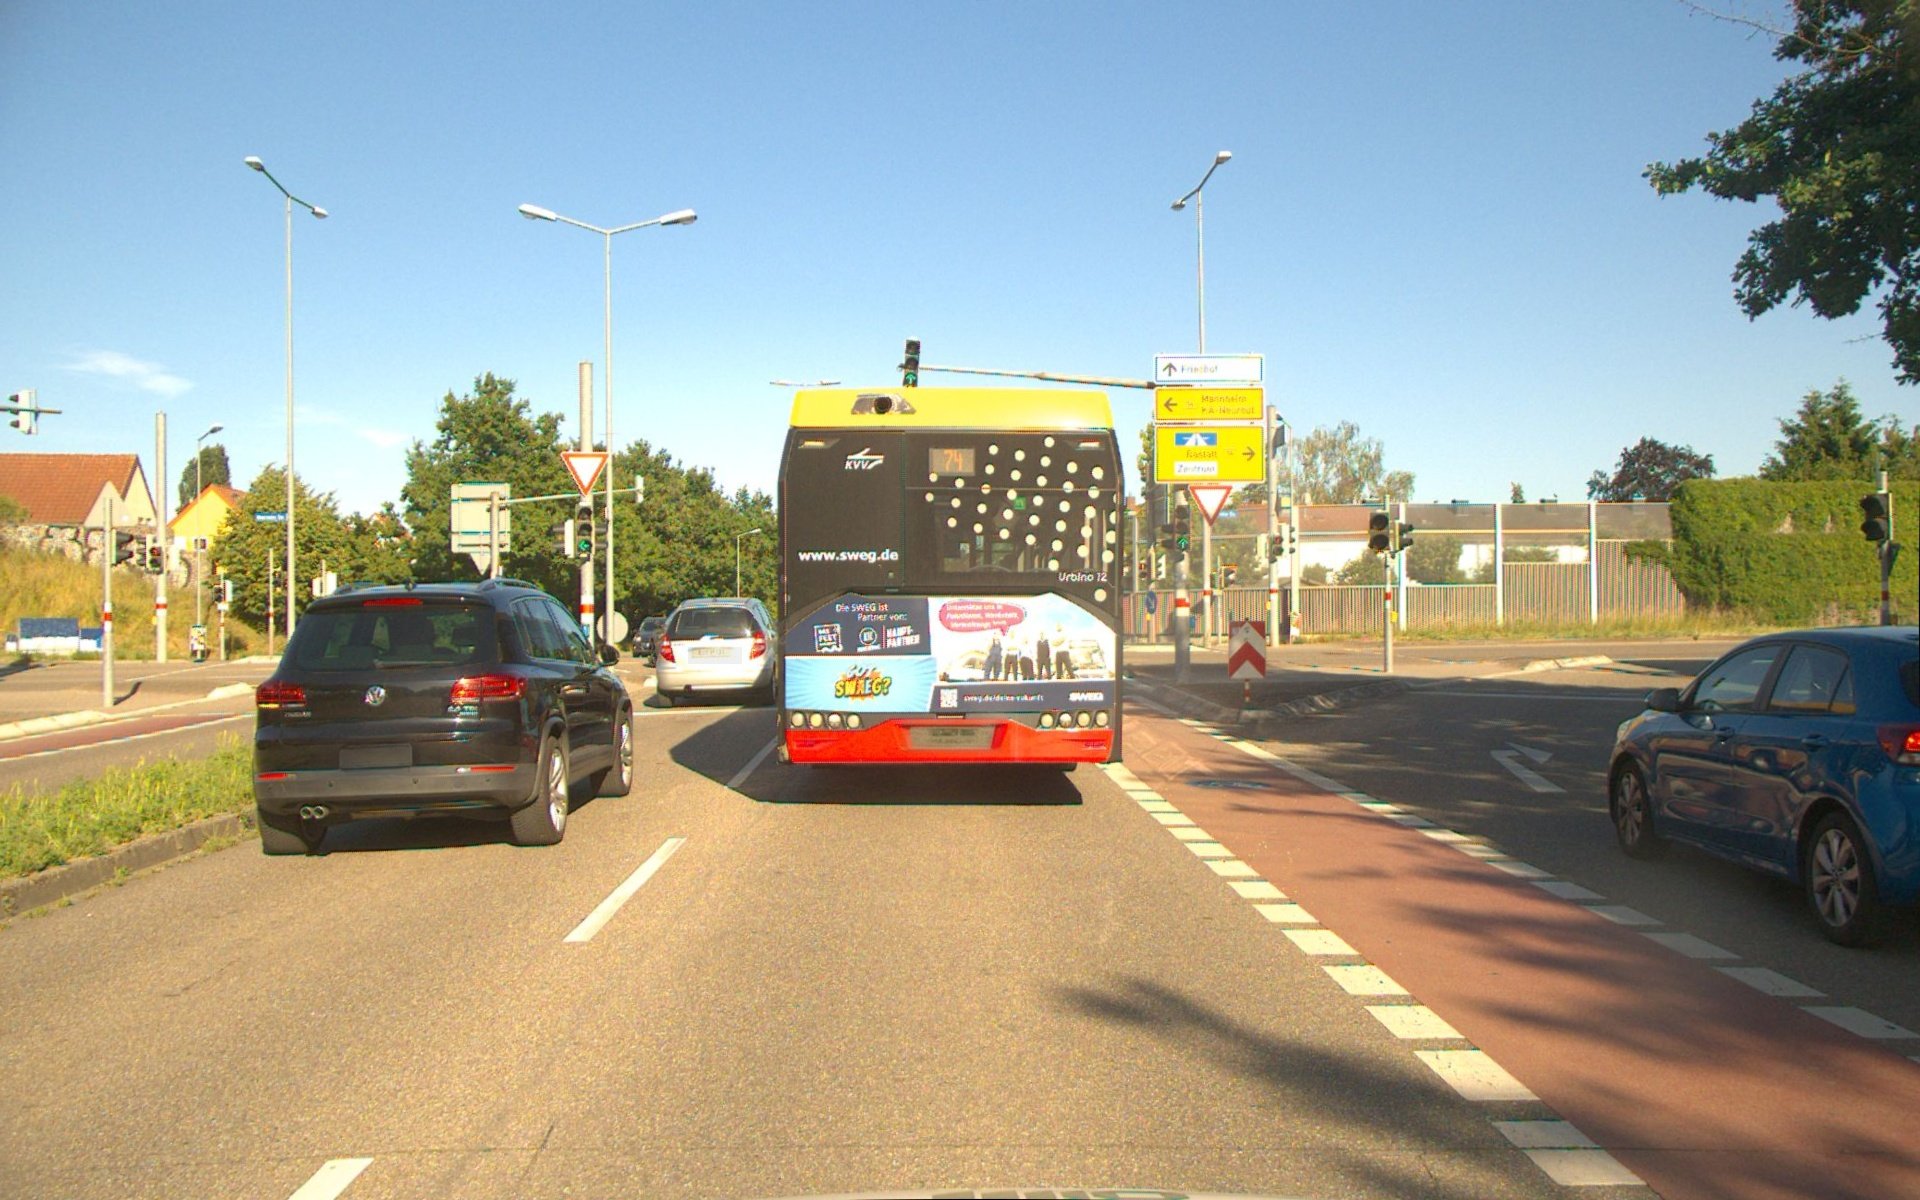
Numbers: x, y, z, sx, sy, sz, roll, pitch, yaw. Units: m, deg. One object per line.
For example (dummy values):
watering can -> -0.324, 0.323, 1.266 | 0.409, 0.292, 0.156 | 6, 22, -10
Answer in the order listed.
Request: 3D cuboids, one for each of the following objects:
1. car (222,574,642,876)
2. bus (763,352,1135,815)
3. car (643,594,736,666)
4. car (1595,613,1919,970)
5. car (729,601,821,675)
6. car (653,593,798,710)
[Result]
car -> -3.442, 0.728, 11.588 | 1.736, 1.682, 3.998 | -2, 0, -2
bus -> -0.113, -0.128, 17.547 | 2.589, 3.222, 11.859 | 1, 0, 0
car -> -6.484, 0.704, 39.387 | 1.675, 1.585, 3.722 | -2, 0, -17
car -> 4.928, 0.830, 8.904 | 1.615, 1.494, 3.941 | 1, 0, 2
car -> -4.026, 0.797, 36.529 | 1.658, 1.484, 3.749 | -2, 0, -1
car -> -3.575, 0.746, 25.810 | 1.725, 1.617, 3.999 | -2, 0, -1
